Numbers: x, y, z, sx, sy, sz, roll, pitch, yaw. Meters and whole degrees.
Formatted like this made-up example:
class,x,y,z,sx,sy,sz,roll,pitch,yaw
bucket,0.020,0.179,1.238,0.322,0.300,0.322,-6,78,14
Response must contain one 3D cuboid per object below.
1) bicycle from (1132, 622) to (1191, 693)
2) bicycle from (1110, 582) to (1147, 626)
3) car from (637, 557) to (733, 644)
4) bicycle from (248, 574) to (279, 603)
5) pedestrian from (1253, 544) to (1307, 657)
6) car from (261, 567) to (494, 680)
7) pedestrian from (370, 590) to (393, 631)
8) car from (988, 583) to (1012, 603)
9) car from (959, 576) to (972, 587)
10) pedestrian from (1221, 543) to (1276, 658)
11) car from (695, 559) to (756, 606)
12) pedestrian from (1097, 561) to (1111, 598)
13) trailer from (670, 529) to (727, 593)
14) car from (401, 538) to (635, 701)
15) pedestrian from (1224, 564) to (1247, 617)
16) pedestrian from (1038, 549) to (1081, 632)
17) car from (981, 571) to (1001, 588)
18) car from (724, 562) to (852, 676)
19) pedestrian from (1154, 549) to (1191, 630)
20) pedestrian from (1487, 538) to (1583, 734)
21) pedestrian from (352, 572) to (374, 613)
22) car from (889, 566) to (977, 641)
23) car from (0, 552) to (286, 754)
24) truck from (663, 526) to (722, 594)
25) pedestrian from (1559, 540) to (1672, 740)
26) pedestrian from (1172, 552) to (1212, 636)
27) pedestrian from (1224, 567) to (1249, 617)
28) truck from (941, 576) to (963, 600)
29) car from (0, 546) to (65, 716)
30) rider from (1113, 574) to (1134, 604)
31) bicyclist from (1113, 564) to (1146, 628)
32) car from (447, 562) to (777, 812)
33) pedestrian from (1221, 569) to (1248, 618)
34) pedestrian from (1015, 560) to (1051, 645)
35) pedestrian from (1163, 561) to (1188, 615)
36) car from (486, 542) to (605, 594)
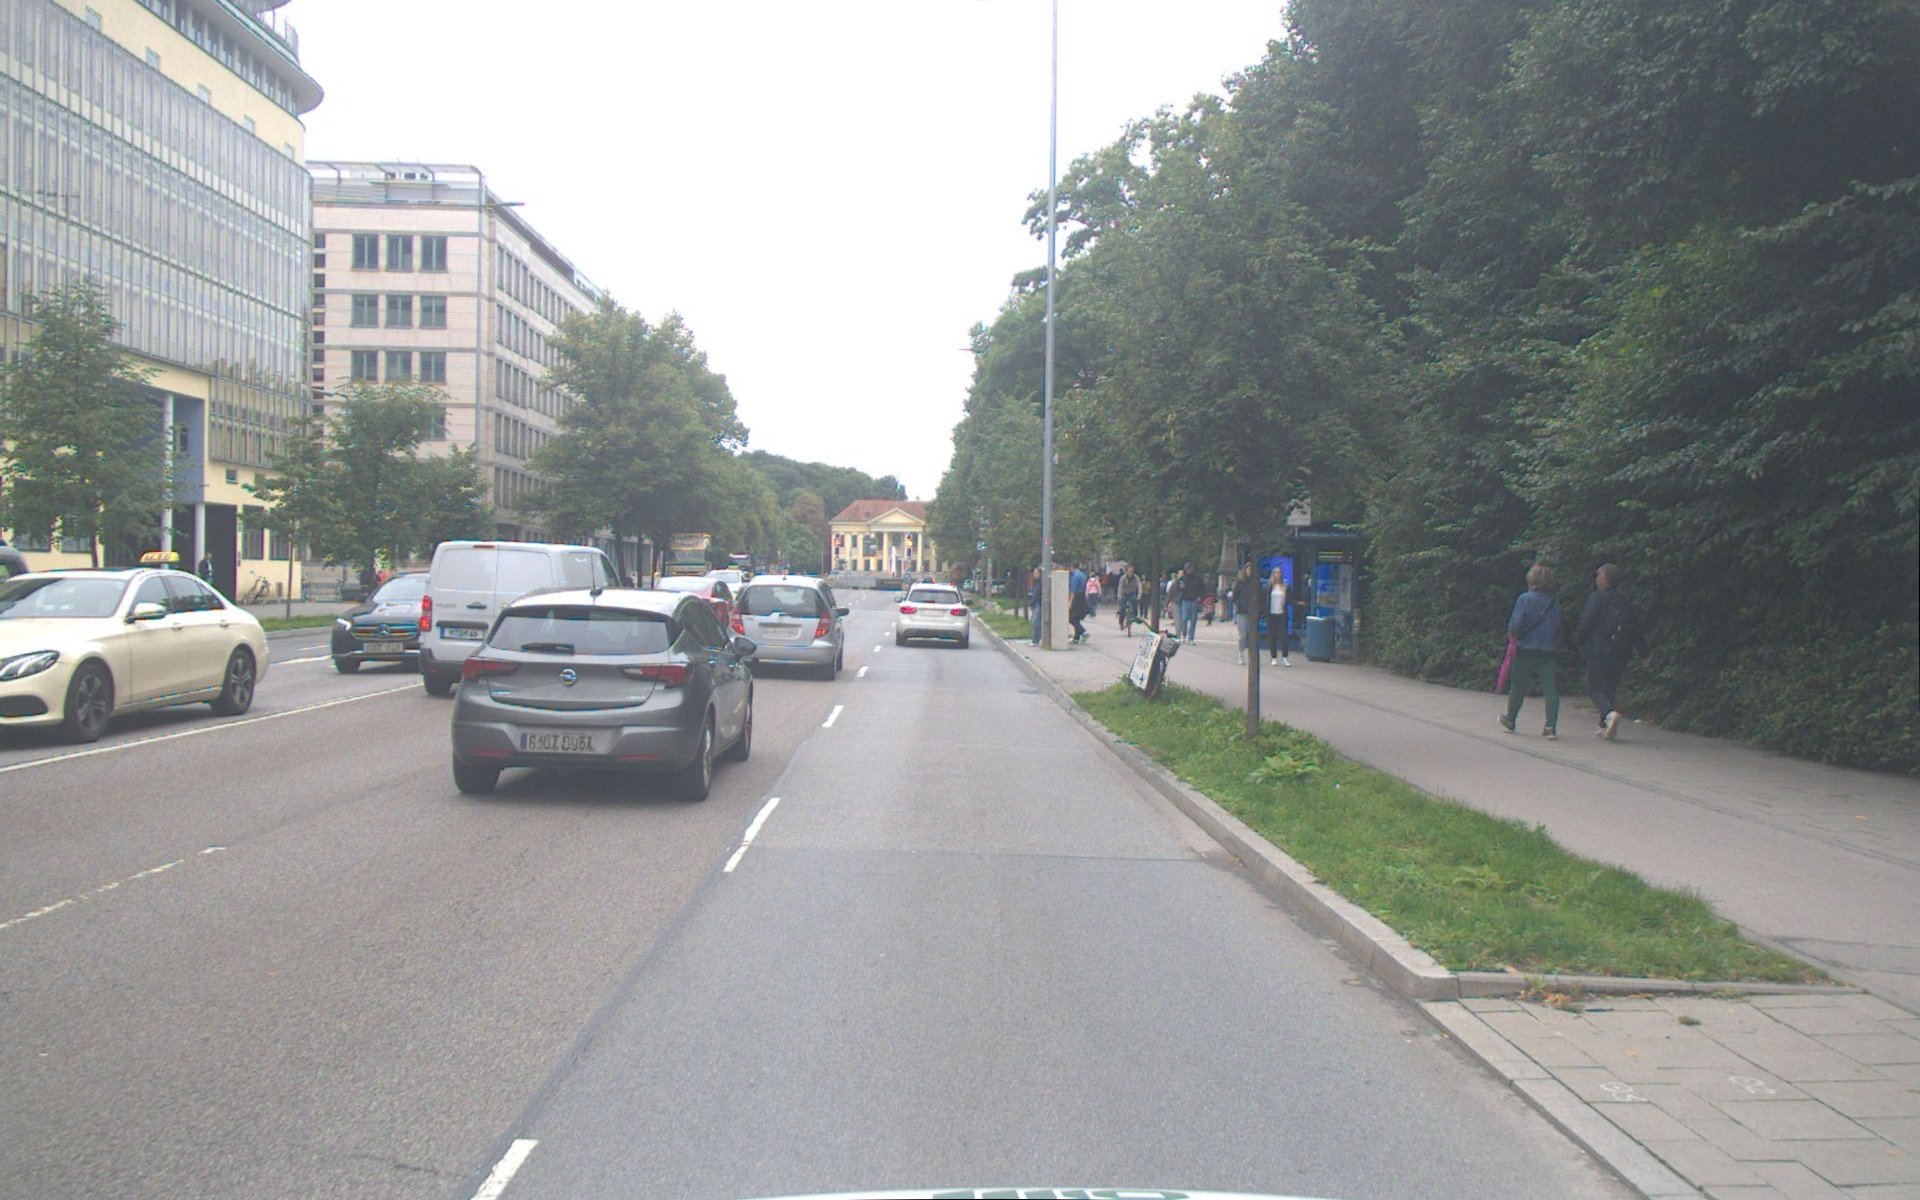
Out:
class,x,y,z,sx,sy,sz,roll,pitch,yaw
bicycle,2.602,0.723,21.460,0.483,0.808,1.889,2,1,-1
bicycle,4.236,0.085,41.642,0.661,1.048,2.012,2,1,-1
car,-5.809,-0.036,35.309,1.745,1.682,3.995,2,1,-6
bicycle,-25.489,-0.422,60.544,0.562,1.030,1.592,2,1,-5
pedestrian,5.672,0.007,29.387,0.693,1.948,0.956,2,1,-1
car,-8.309,0.256,24.066,1.731,1.448,4.747,-1,1,-1
pedestrian,-25.918,0.478,74.084,0.668,1.806,0.784,2,1,3
car,3.183,-0.580,133.920,1.790,1.576,4.751,0,1,0
car,0.672,-2.469,218.848,1.689,1.346,4.028,0,2,0
pedestrian,5.027,-0.003,28.860,0.693,1.948,0.956,2,1,-1
car,-9.392,-0.725,66.436,1.819,1.779,4.629,-1,1,-1
pedestrian,7.359,-1.071,84.619,0.576,1.854,0.850,2,1,0
trailer,-16.786,-2.529,106.889,2.893,3.805,11.757,2,1,-6
car,-5.624,0.193,21.729,1.860,1.880,4.954,1,1,-2
pedestrian,9.040,-0.314,54.293,0.579,1.720,0.729,2,1,1
pedestrian,2.347,-0.221,39.066,0.790,1.913,0.542,2,1,35
car,2.706,-1.792,146.054,1.689,1.490,4.775,0,1,0
car,-2.741,0.251,27.107,1.743,1.682,3.999,2,1,-2
pedestrian,4.926,-0.238,38.331,0.693,1.840,0.639,2,1,-2
pedestrian,5.645,0.344,16.271,0.657,1.871,0.641,2,1,0
pedestrian,-26.787,-0.342,74.196,0.668,1.806,0.675,2,1,3
car,-0.720,0.033,40.346,1.745,1.673,3.995,2,1,-6
car,-8.058,0.372,15.244,1.791,1.569,4.822,1,1,-1
truck,-16.071,-2.389,99.658,2.859,3.840,7.658,2,1,-5
pedestrian,6.376,0.374,16.115,0.735,1.871,0.756,2,1,0
pedestrian,5.228,-0.139,37.315,0.693,1.840,0.950,2,1,-1
pedestrian,9.683,-0.275,57.929,0.795,1.720,0.729,0,1,1
truck,-1.307,-1.920,256.285,3.258,3.425,8.661,2,1,-1
car,-10.904,0.325,16.394,1.791,1.780,4.259,1,1,-1
rider,6.367,-0.434,64.463,0.749,1.131,1.245,2,1,3
bicyclist,4.277,-0.099,41.723,0.693,1.589,0.639,2,1,-2
car,-2.502,0.530,12.827,1.675,1.579,4.000,2,1,0
pedestrian,9.763,-0.239,58.915,0.795,1.720,0.729,2,1,1
pedestrian,1.632,0.052,36.880,0.693,1.840,0.639,2,1,-2
pedestrian,7.062,-0.399,54.122,0.711,1.720,0.648,2,1,4
car,-20.920,-1.619,83.703,5.570,2.580,2.154,0,1,-5
